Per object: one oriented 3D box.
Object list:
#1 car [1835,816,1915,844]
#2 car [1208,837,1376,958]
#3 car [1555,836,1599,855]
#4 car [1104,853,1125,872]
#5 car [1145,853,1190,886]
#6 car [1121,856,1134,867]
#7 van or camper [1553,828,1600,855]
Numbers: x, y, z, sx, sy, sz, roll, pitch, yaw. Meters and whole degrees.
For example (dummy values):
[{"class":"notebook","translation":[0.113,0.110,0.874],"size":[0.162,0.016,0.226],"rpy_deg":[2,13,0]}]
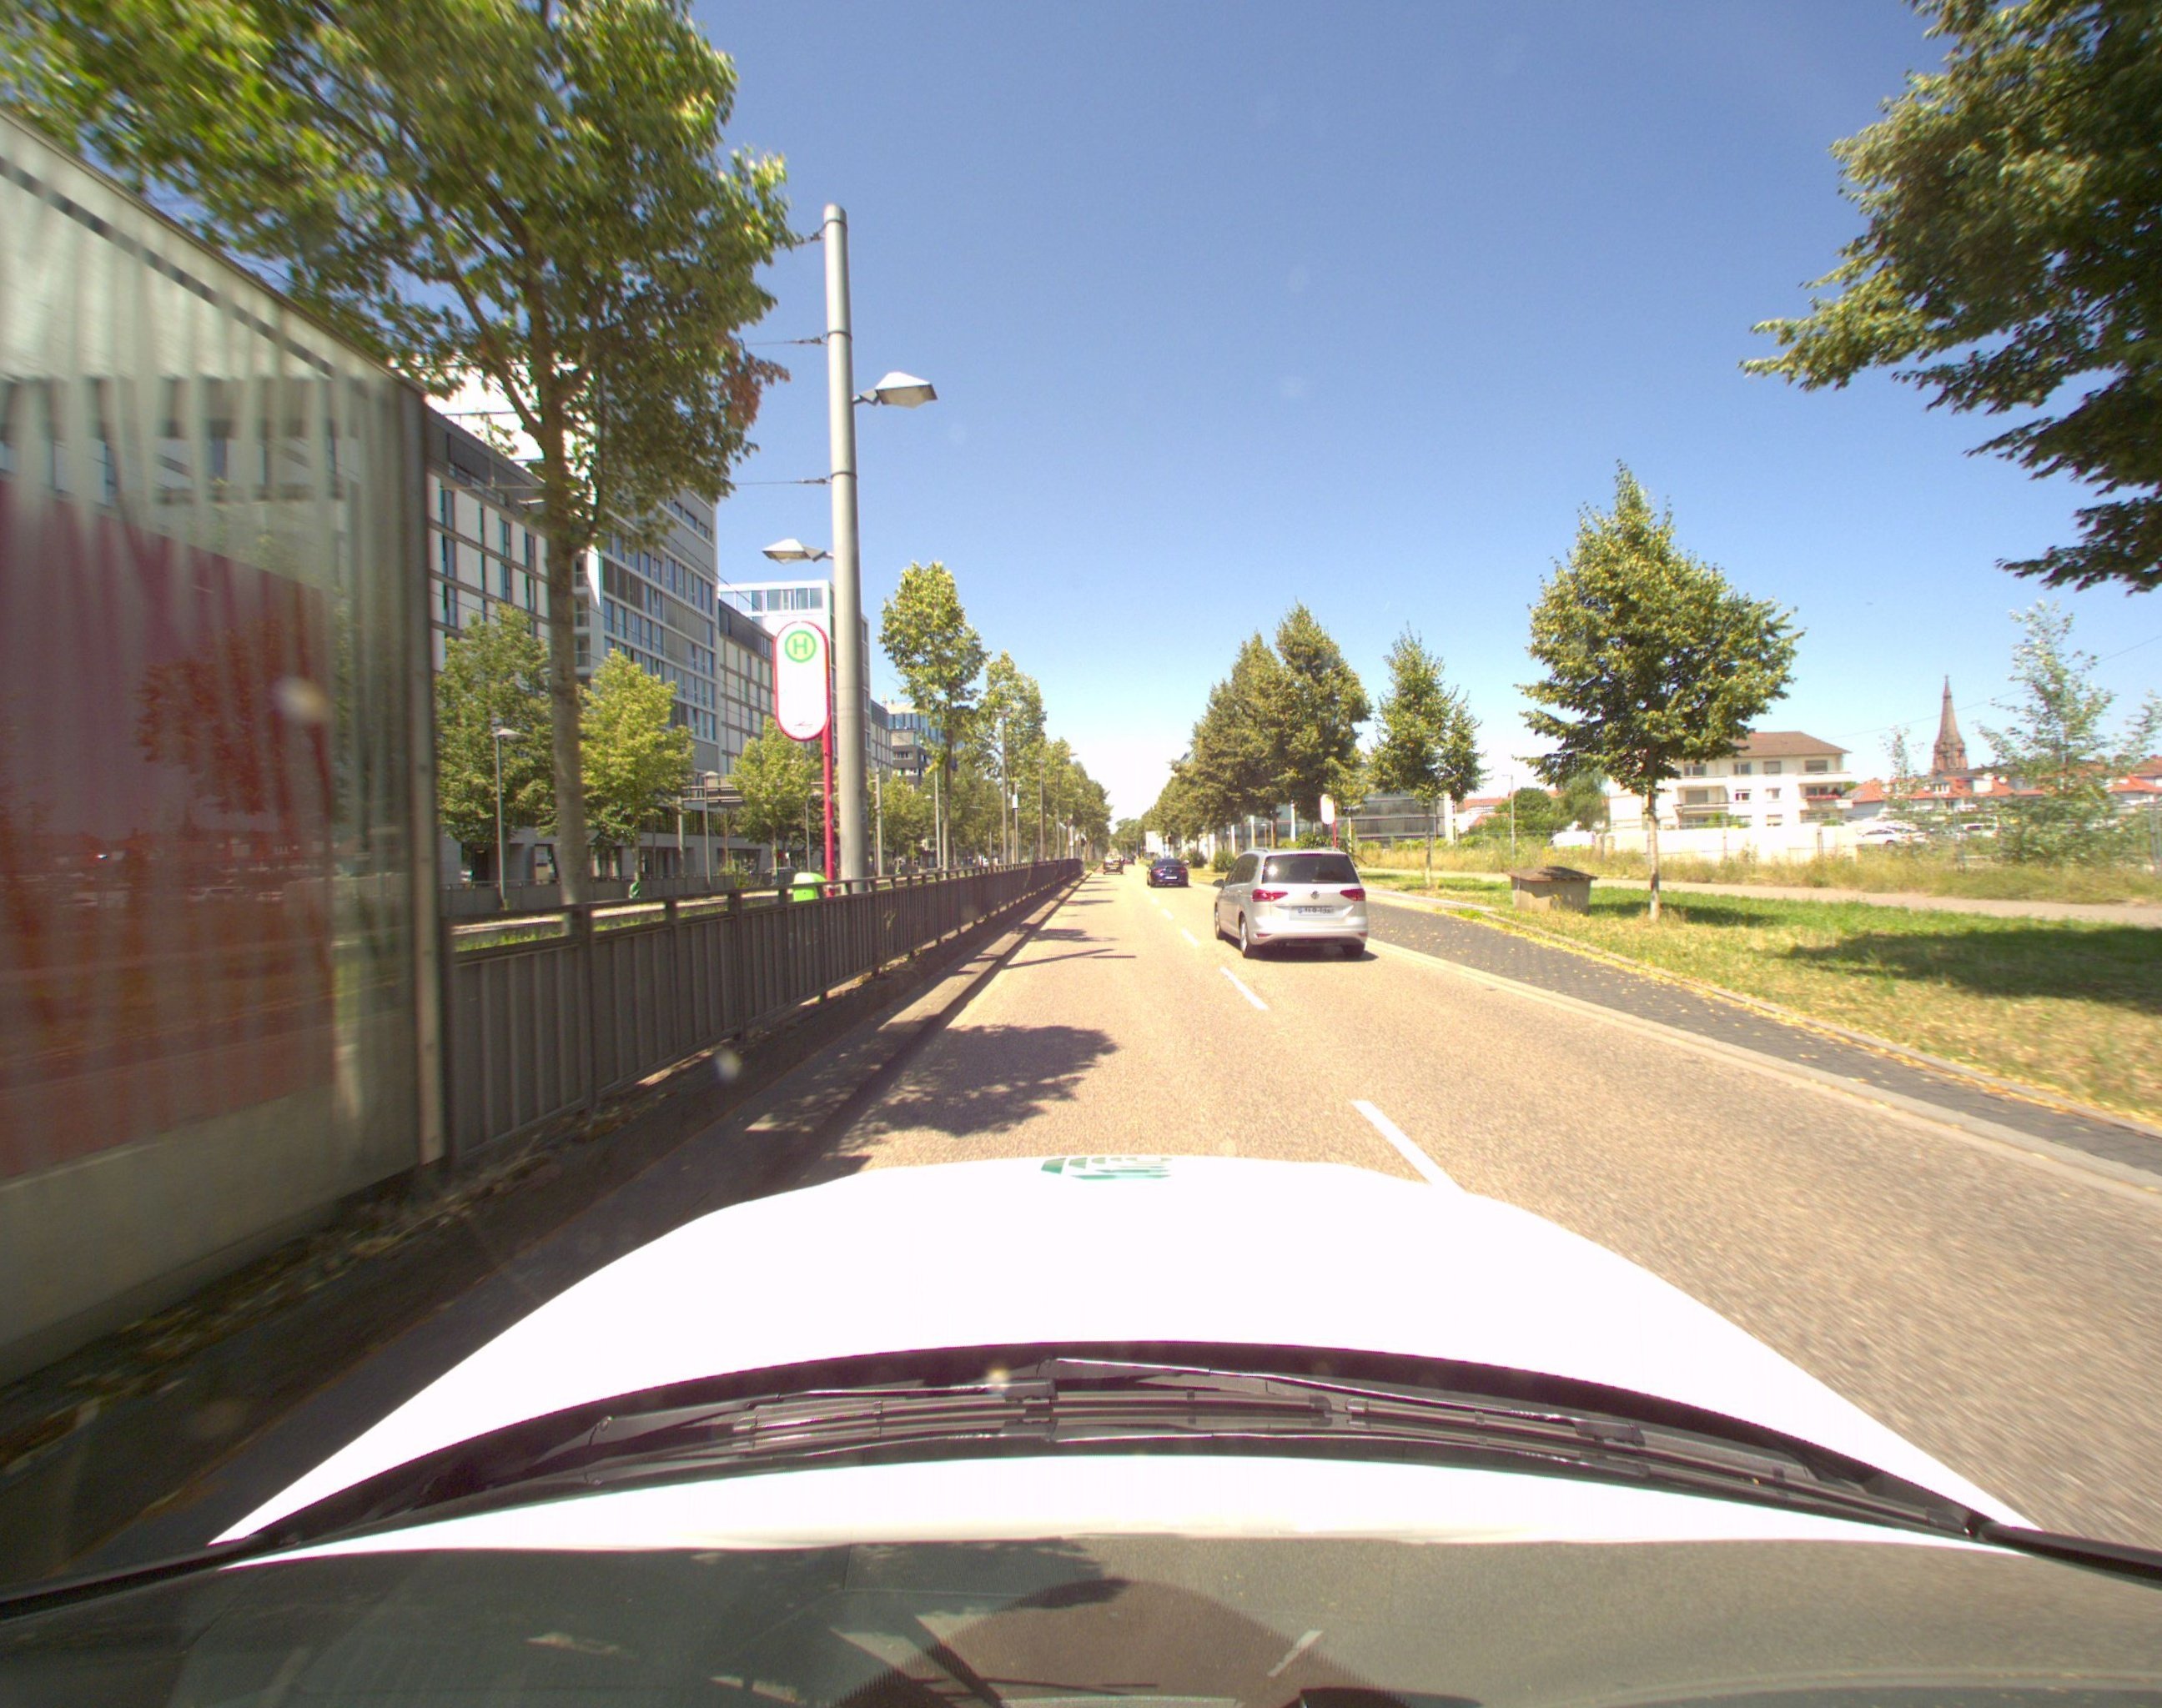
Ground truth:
[{"class":"car","translation":[52.924,-1.557,54.379],"size":[1.671,1.586,3.618],"rpy_deg":[-3,-1,-3]},{"class":"car","translation":[3.269,0.636,13.547],"size":[1.793,1.649,4.607],"rpy_deg":[1,-1,3]},{"class":"car","translation":[53.523,-0.902,87.983],"size":[1.989,2.014,4.171],"rpy_deg":[-2,0,-2]},{"class":"car","translation":[2.686,0.730,66.241],"size":[1.612,1.451,3.988],"rpy_deg":[-2,-1,2]},{"class":"car","translation":[4.106,0.703,39.419],"size":[1.844,1.436,4.959],"rpy_deg":[-2,0,3]},{"class":"car","translation":[6.990,1.125,123.408],"size":[1.760,1.627,3.716],"rpy_deg":[-2,-1,1]},{"class":"van or camper","translation":[53.390,-1.294,87.803],"size":[1.989,2.802,4.658],"rpy_deg":[-2,0,-2]}]
